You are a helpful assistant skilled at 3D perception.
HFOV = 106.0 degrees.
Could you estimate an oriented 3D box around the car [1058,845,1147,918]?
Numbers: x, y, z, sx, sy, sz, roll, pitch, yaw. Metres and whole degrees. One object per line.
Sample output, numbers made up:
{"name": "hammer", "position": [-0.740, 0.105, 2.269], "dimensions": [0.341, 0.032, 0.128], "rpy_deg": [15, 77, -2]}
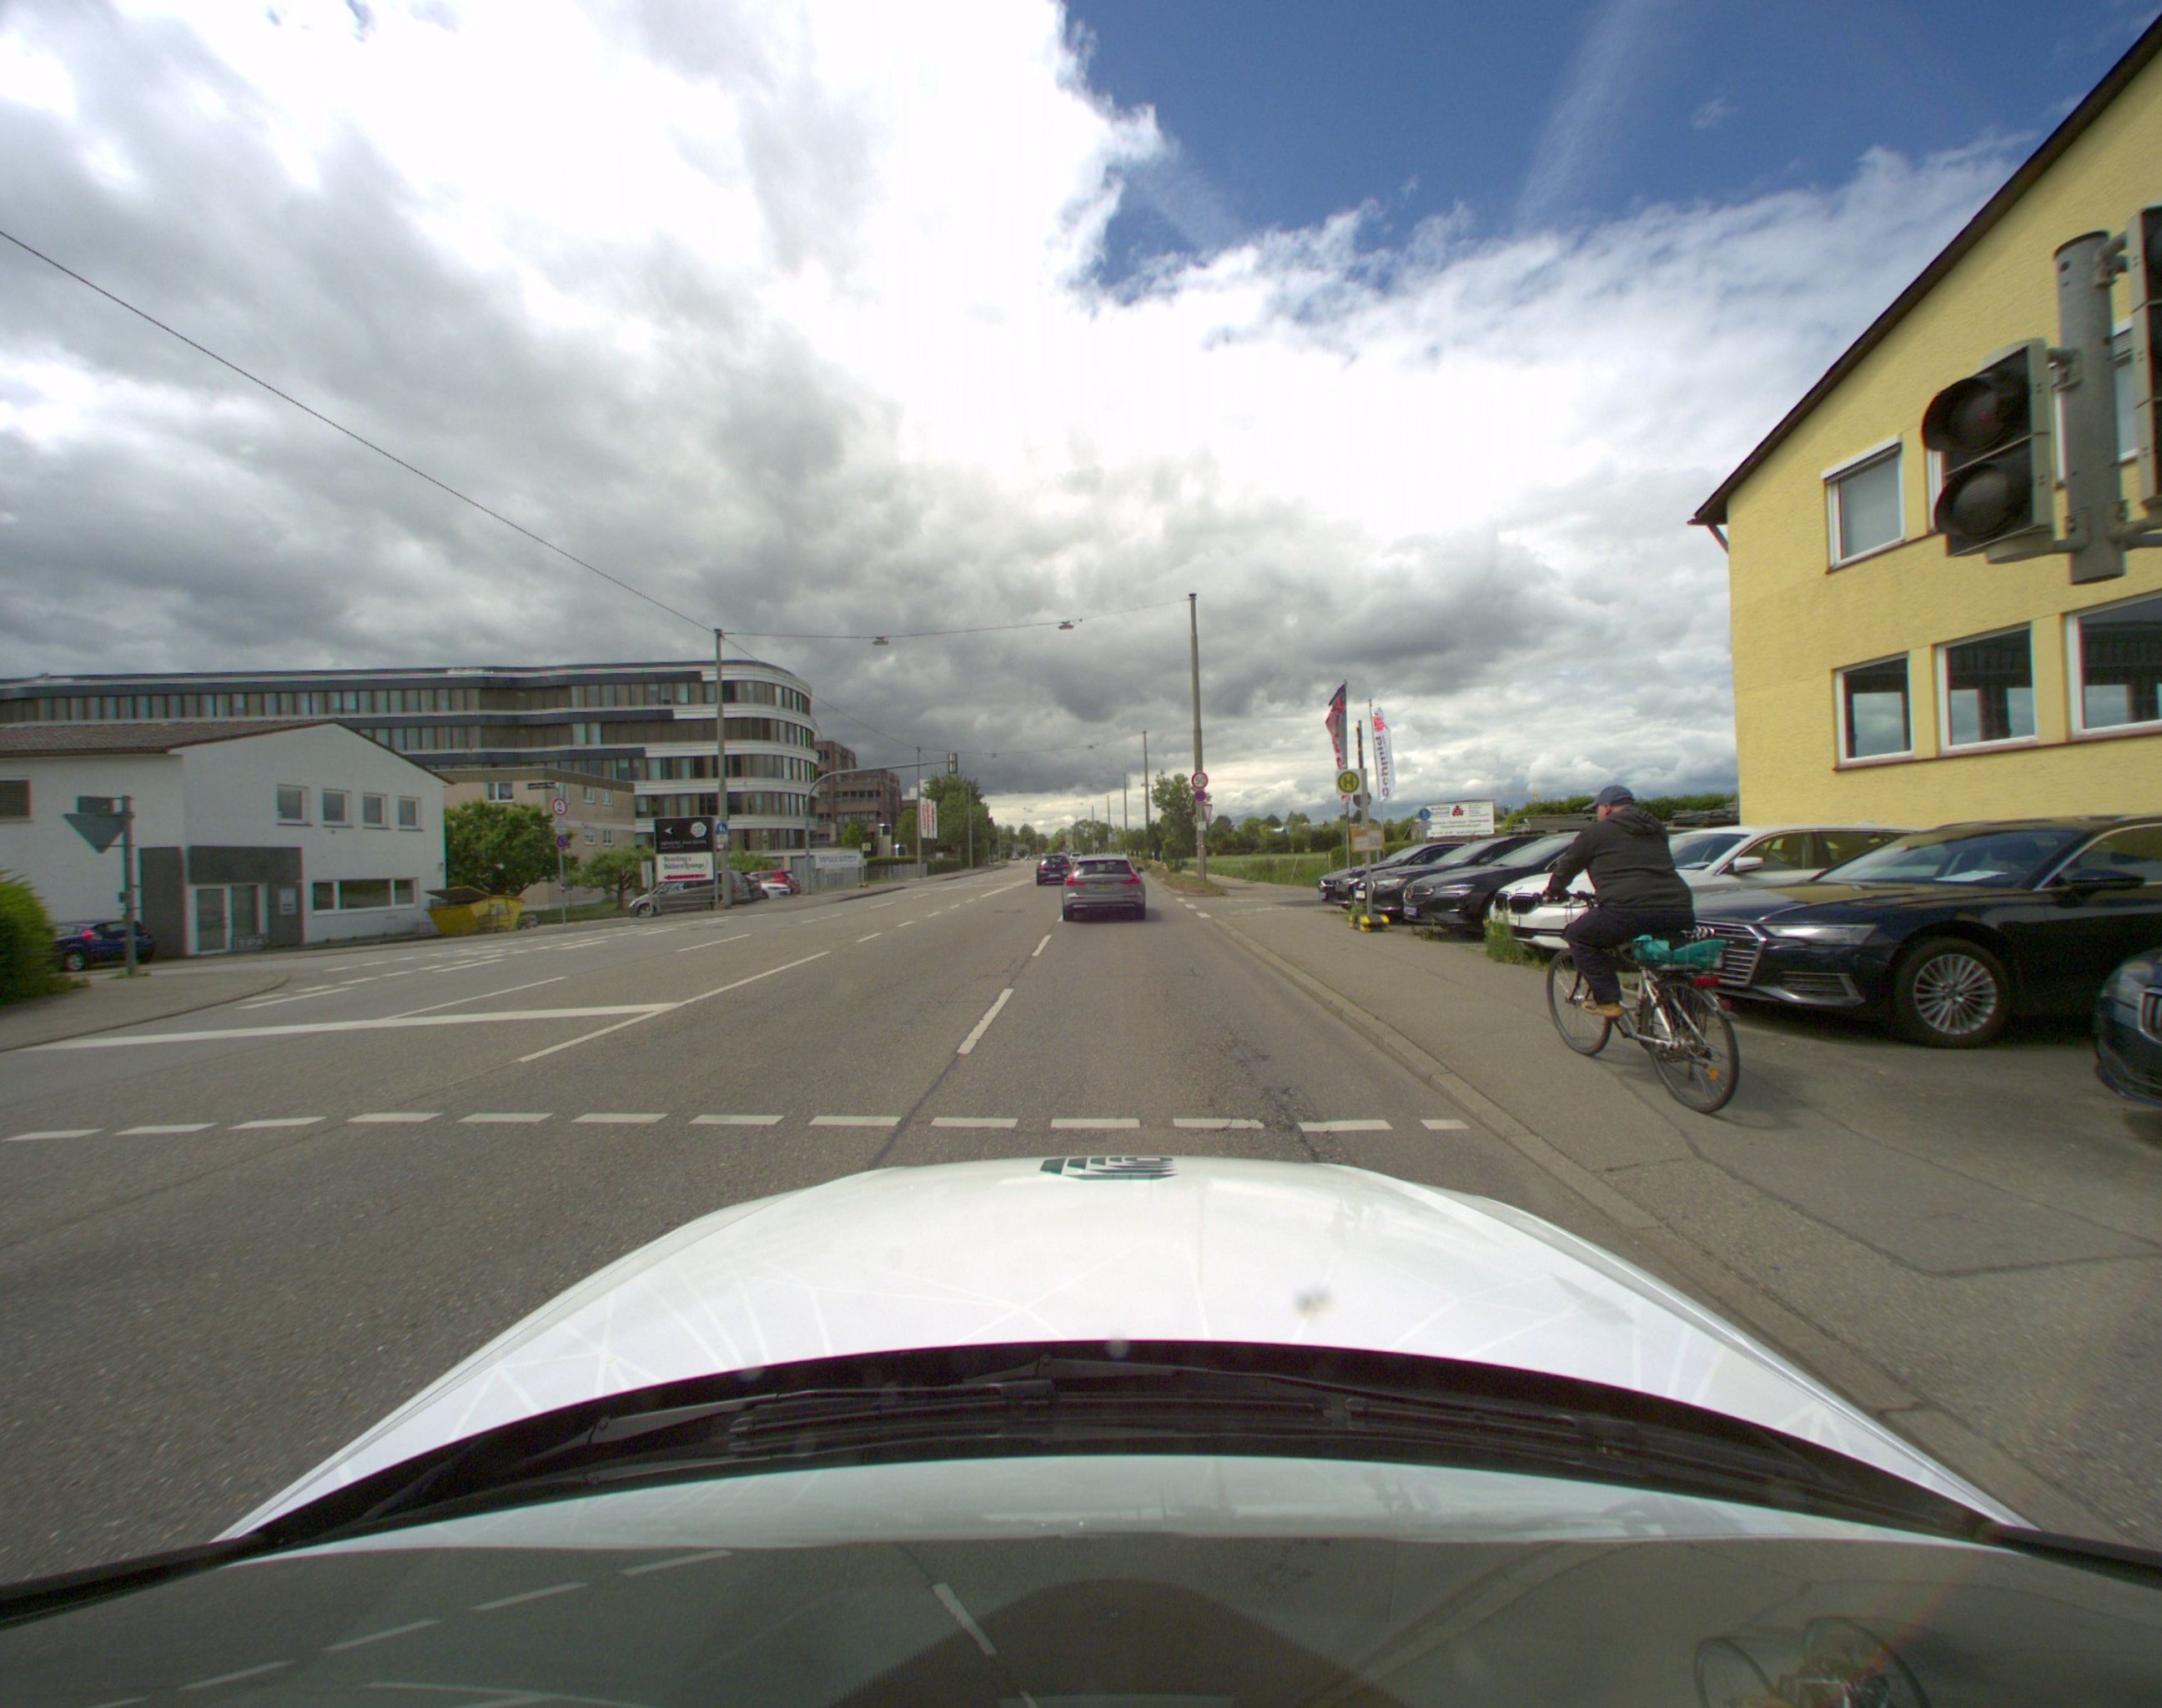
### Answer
{"name": "car", "position": [0.543, 0.605, 19.260], "dimensions": [1.888, 1.554, 4.002], "rpy_deg": [0, -1, 3]}

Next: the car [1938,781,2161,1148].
{"name": "car", "position": [6.704, 0.392, 3.132], "dimensions": [4.642, 1.493, 2.035], "rpy_deg": [-1, 0, 1]}

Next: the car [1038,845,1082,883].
{"name": "car", "position": [-0.967, 0.470, 38.632], "dimensions": [1.988, 1.717, 3.998], "rpy_deg": [0, -1, -1]}

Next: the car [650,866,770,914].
{"name": "car", "position": [-15.428, 1.482, 34.040], "dimensions": [3.976, 1.424, 1.854], "rpy_deg": [-8, -1, -1]}

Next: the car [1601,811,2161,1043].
{"name": "car", "position": [6.631, 0.431, 6.013], "dimensions": [4.355, 1.404, 1.988], "rpy_deg": [0, 0, -1]}

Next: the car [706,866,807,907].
{"name": "car", "position": [-15.550, 1.550, 39.171], "dimensions": [3.976, 1.369, 1.847], "rpy_deg": [-8, -1, -1]}

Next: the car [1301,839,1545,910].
{"name": "car", "position": [7.057, 0.429, 17.162], "dimensions": [4.308, 1.398, 2.003], "rpy_deg": [0, -2, -1]}

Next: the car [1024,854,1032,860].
{"name": "car", "position": [-14.924, 0.843, 230.159], "dimensions": [1.876, 1.520, 3.999], "rpy_deg": [0, -1, 0]}

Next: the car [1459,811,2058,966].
{"name": "car", "position": [6.960, 0.338, 8.853], "dimensions": [4.781, 1.480, 2.033], "rpy_deg": [0, 0, 2]}

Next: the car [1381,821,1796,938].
{"name": "car", "position": [6.946, 0.329, 11.595], "dimensions": [4.658, 1.493, 2.016], "rpy_deg": [0, 0, 2]}

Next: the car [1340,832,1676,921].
{"name": "car", "position": [7.236, 0.373, 14.222], "dimensions": [4.834, 1.430, 2.039], "rpy_deg": [0, 0, 1]}

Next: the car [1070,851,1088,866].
{"name": "car", "position": [-0.221, 0.543, 94.276], "dimensions": [1.987, 1.695, 4.000], "rpy_deg": [0, -1, 1]}

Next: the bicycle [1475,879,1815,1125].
{"name": "bicycle", "position": [3.197, 0.743, 4.915], "dimensions": [0.635, 1.063, 1.978], "rpy_deg": [-6, 0, 2]}

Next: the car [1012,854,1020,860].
{"name": "car", "position": [-18.337, 0.793, 230.888], "dimensions": [1.876, 1.717, 3.999], "rpy_deg": [0, -1, 0]}

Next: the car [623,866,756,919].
{"name": "car", "position": [-15.064, 1.441, 31.554], "dimensions": [4.088, 1.397, 1.904], "rpy_deg": [-8, 1, -6]}

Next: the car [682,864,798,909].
{"name": "car", "position": [-15.205, 1.447, 36.488], "dimensions": [4.217, 1.387, 1.981], "rpy_deg": [-8, -1, -5]}

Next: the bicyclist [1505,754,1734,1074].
{"name": "bicyclist", "position": [3.147, 0.324, 4.850], "dimensions": [0.635, 1.675, 0.890], "rpy_deg": [-6, 0, 2]}

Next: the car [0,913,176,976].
{"name": "car", "position": [-30.041, 2.702, 24.307], "dimensions": [3.912, 1.420, 1.811], "rpy_deg": [-4, 1, 1]}
